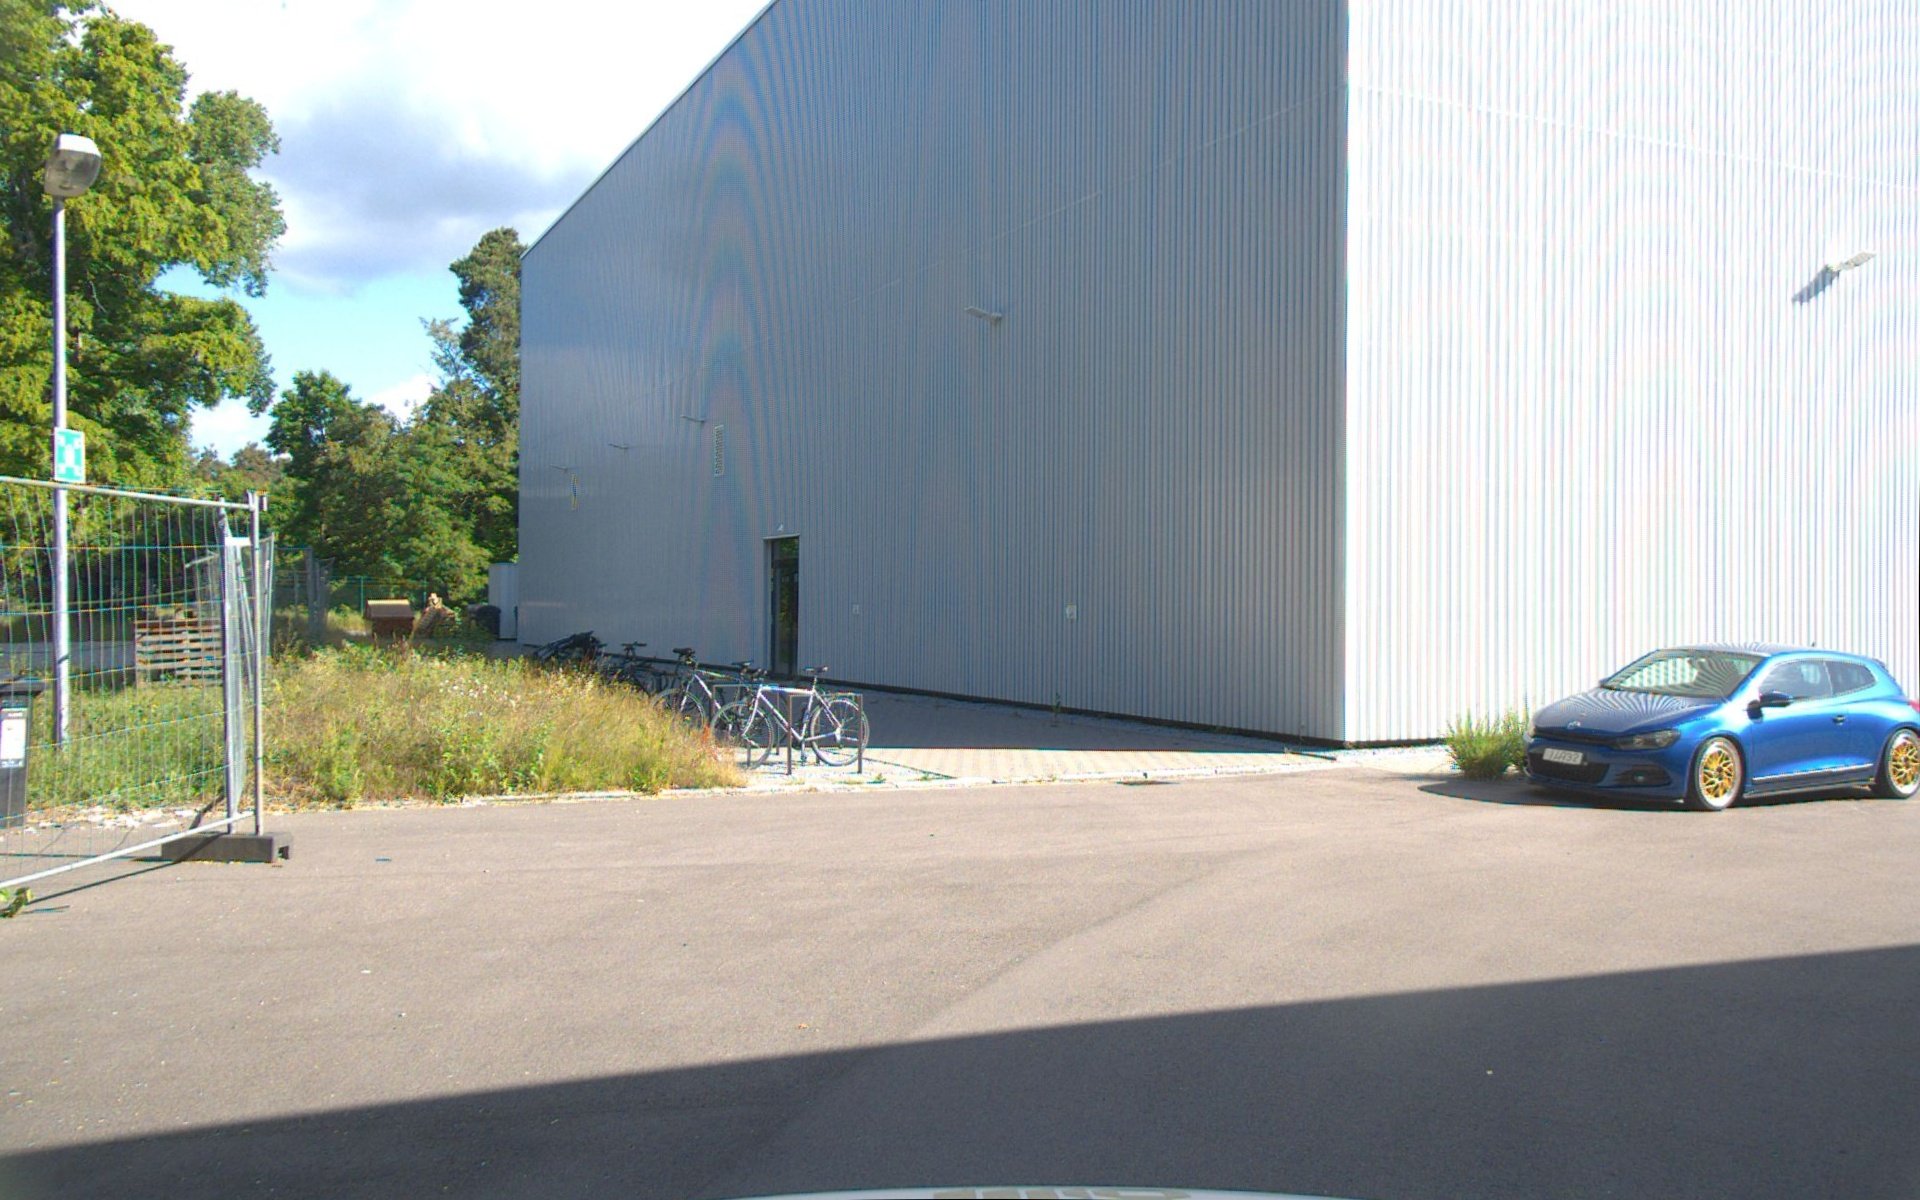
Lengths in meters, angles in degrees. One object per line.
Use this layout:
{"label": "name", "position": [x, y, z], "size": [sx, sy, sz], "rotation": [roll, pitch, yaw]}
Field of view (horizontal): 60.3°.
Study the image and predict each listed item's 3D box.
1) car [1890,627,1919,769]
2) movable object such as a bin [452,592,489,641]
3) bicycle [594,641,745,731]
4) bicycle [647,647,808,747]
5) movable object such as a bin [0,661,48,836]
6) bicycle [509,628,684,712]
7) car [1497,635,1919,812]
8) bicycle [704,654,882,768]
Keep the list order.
{"label": "car", "position": [11.843, 1.050, 17.640], "size": [3.709, 1.472, 1.610], "rotation": [1, 0, -28]}
{"label": "movable object such as a bin", "position": [-20.737, 0.704, 70.098], "size": [1.398, 2.049, 1.118], "rotation": [1, -1, -22]}
{"label": "bicycle", "position": [-3.746, 1.100, 21.404], "size": [1.865, 1.114, 0.521], "rotation": [0, -1, -28]}
{"label": "bicycle", "position": [-2.682, 1.098, 19.105], "size": [1.769, 1.101, 0.521], "rotation": [1, -1, -25]}
{"label": "movable object such as a bin", "position": [-6.590, 0.980, 11.084], "size": [0.726, 1.117, 0.813], "rotation": [1, -1, -22]}
{"label": "bicycle", "position": [-5.844, 1.101, 26.589], "size": [2.593, 1.288, 1.133], "rotation": [1, -1, -22]}
{"label": "car", "position": [6.944, 1.038, 15.067], "size": [3.894, 1.373, 1.659], "rotation": [1, 1, -27]}
{"label": "bicycle", "position": [-1.675, 1.102, 16.758], "size": [1.781, 1.080, 0.454], "rotation": [1, -1, -31]}
